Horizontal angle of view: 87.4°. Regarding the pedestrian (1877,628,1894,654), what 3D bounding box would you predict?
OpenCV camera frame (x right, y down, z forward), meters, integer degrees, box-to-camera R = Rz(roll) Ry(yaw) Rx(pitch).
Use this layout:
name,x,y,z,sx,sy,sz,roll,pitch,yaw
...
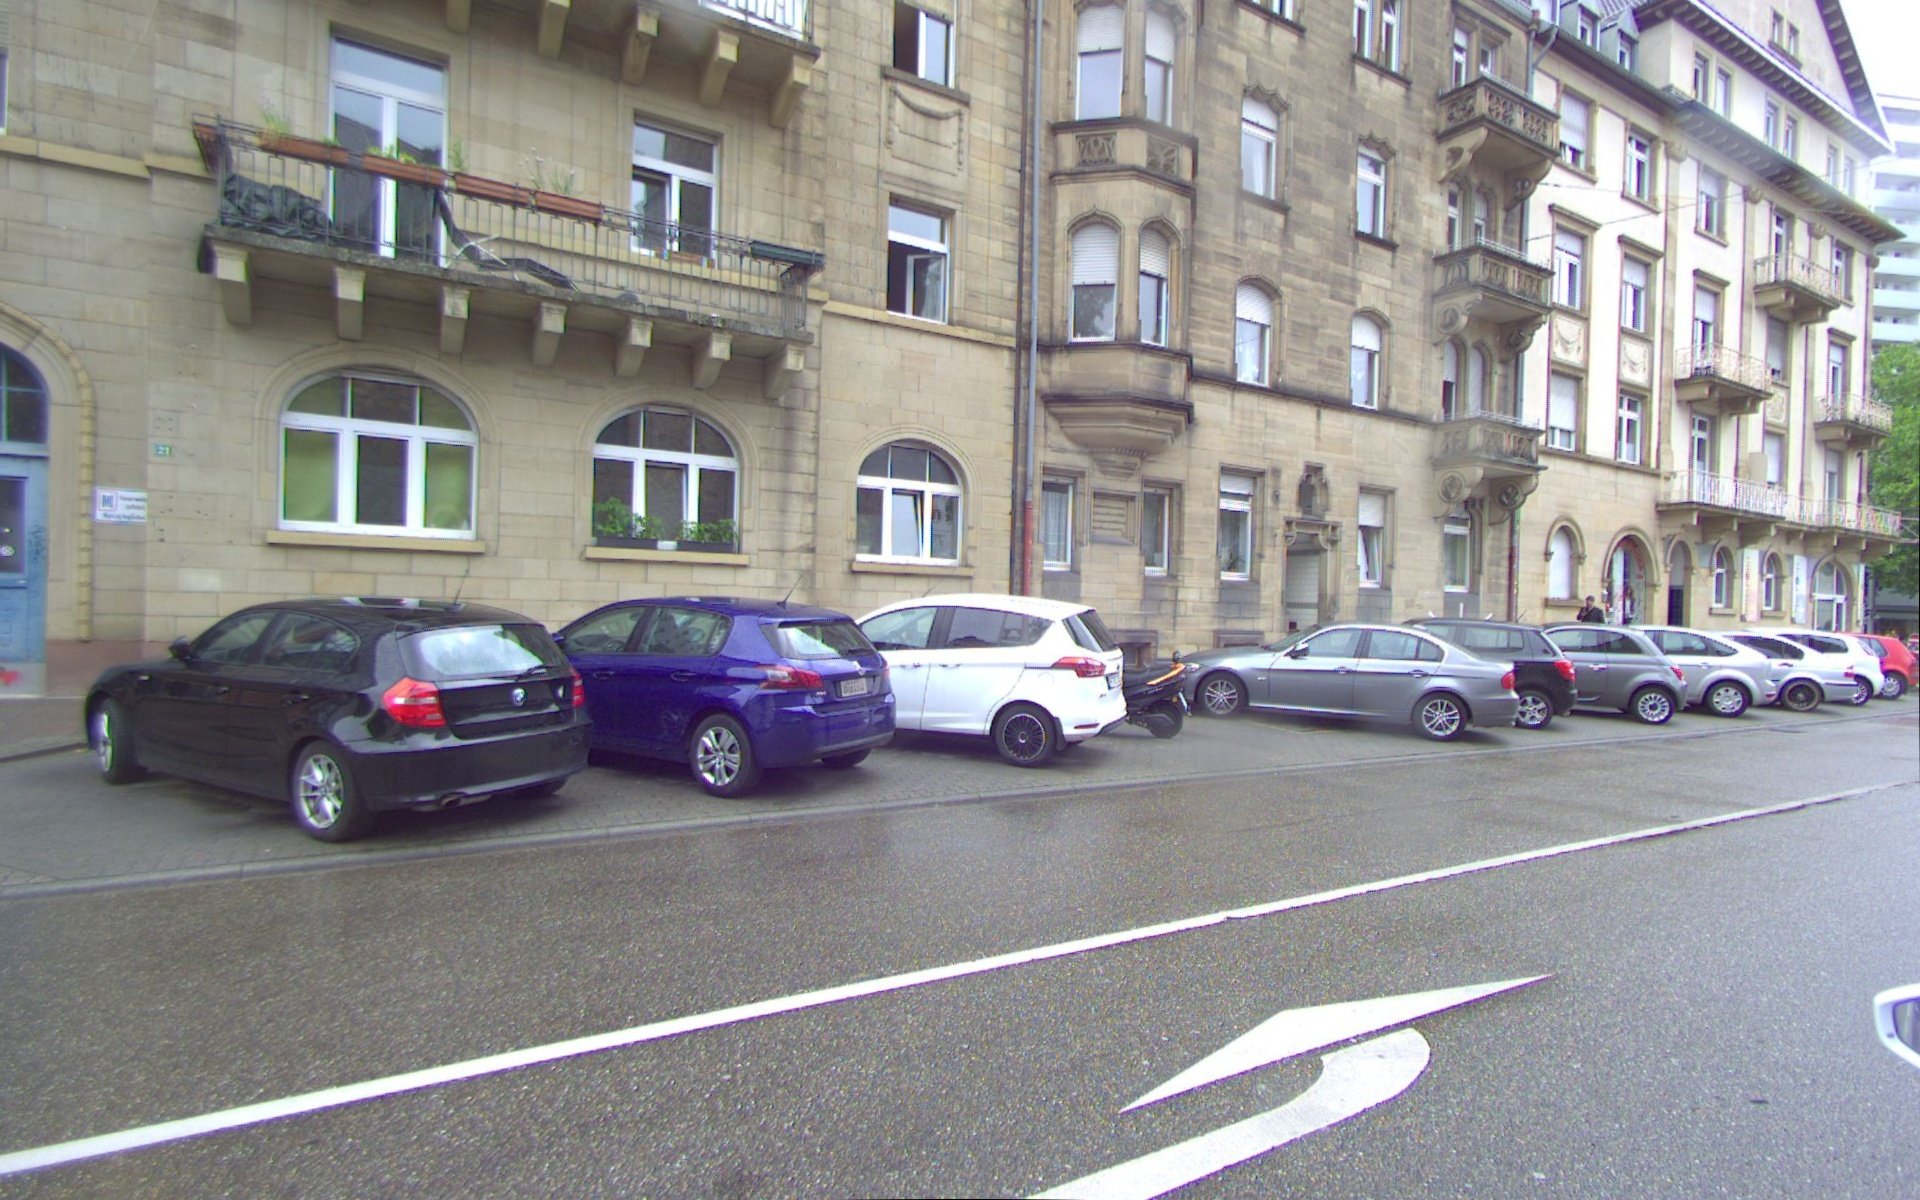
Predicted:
name,x,y,z,sx,sy,sz,roll,pitch,yaw
pedestrian,57.563,2.549,62.473,0.631,1.550,0.443,1,0,-4

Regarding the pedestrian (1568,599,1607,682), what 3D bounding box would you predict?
name,x,y,z,sx,sy,sz,roll,pitch,yaw
pedestrian,15.616,0.996,25.001,0.647,2.040,0.565,1,0,-30

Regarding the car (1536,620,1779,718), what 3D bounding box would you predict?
name,x,y,z,sx,sy,sz,roll,pitch,yaw
car,12.693,1.204,18.525,3.337,1.578,1.705,1,0,21

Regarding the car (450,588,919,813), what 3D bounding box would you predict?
name,x,y,z,sx,sy,sz,roll,pitch,yaw
car,-2.525,0.732,8.995,3.972,1.594,1.795,1,-1,31

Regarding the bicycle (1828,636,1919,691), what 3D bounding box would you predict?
name,x,y,z,sx,sy,sz,roll,pitch,yaw
bicycle,23.234,1.587,25.477,0.516,1.283,1.754,1,-1,-31

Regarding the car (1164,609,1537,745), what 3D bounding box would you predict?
name,x,y,z,sx,sy,sz,roll,pitch,yaw
car,5.153,0.958,13.734,4.457,1.565,1.689,1,0,17

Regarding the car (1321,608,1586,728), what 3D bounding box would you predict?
name,x,y,z,sx,sy,sz,roll,pitch,yaw
car,7.486,0.984,15.580,3.484,1.619,1.605,1,0,21

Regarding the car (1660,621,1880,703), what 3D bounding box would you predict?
name,x,y,z,sx,sy,sz,roll,pitch,yaw
car,17.554,1.304,21.948,3.337,1.578,1.705,1,0,21

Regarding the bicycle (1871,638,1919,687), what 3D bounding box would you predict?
name,x,y,z,sx,sy,sz,roll,pitch,yaw
bicycle,25.864,1.695,27.123,0.601,1.283,1.754,2,-1,-31

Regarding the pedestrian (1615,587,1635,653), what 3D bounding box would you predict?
name,x,y,z,sx,sy,sz,roll,pitch,yaw
pedestrian,18.776,0.555,28.359,0.343,1.846,0.364,2,-1,-32

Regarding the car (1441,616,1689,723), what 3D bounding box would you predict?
name,x,y,z,sx,sy,sz,roll,pitch,yaw
car,10.095,1.111,17.044,3.337,1.578,1.652,1,0,21

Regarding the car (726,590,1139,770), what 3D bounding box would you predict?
name,x,y,z,sx,sy,sz,roll,pitch,yaw
car,-0.252,0.738,10.606,3.964,1.576,1.799,1,-1,20

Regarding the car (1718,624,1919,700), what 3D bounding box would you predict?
name,x,y,z,sx,sy,sz,roll,pitch,yaw
car,20.081,1.405,23.524,3.337,1.578,1.705,1,0,21

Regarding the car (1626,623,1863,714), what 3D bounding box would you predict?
name,x,y,z,sx,sy,sz,roll,pitch,yaw
car,15.520,1.310,20.080,3.337,1.578,1.705,1,0,21

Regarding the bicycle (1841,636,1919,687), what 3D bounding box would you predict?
name,x,y,z,sx,sy,sz,roll,pitch,yaw
bicycle,24.935,1.627,27.007,0.601,1.283,1.754,2,-1,-31

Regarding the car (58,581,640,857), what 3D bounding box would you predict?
name,x,y,z,sx,sy,sz,roll,pitch,yaw
car,-4.489,0.671,7.334,3.969,1.532,1.797,1,-1,27

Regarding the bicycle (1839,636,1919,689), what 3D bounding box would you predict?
name,x,y,z,sx,sy,sz,roll,pitch,yaw
bicycle,24.206,1.617,26.230,0.492,1.283,1.801,1,-1,-31

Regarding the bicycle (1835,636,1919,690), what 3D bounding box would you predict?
name,x,y,z,sx,sy,sz,roll,pitch,yaw
bicycle,23.690,1.592,25.770,0.492,1.283,1.801,1,-1,-31

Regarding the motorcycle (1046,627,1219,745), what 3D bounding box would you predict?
name,x,y,z,sx,sy,sz,roll,pitch,yaw
motorcycle,2.004,0.968,11.726,1.837,1.177,0.633,4,1,23
